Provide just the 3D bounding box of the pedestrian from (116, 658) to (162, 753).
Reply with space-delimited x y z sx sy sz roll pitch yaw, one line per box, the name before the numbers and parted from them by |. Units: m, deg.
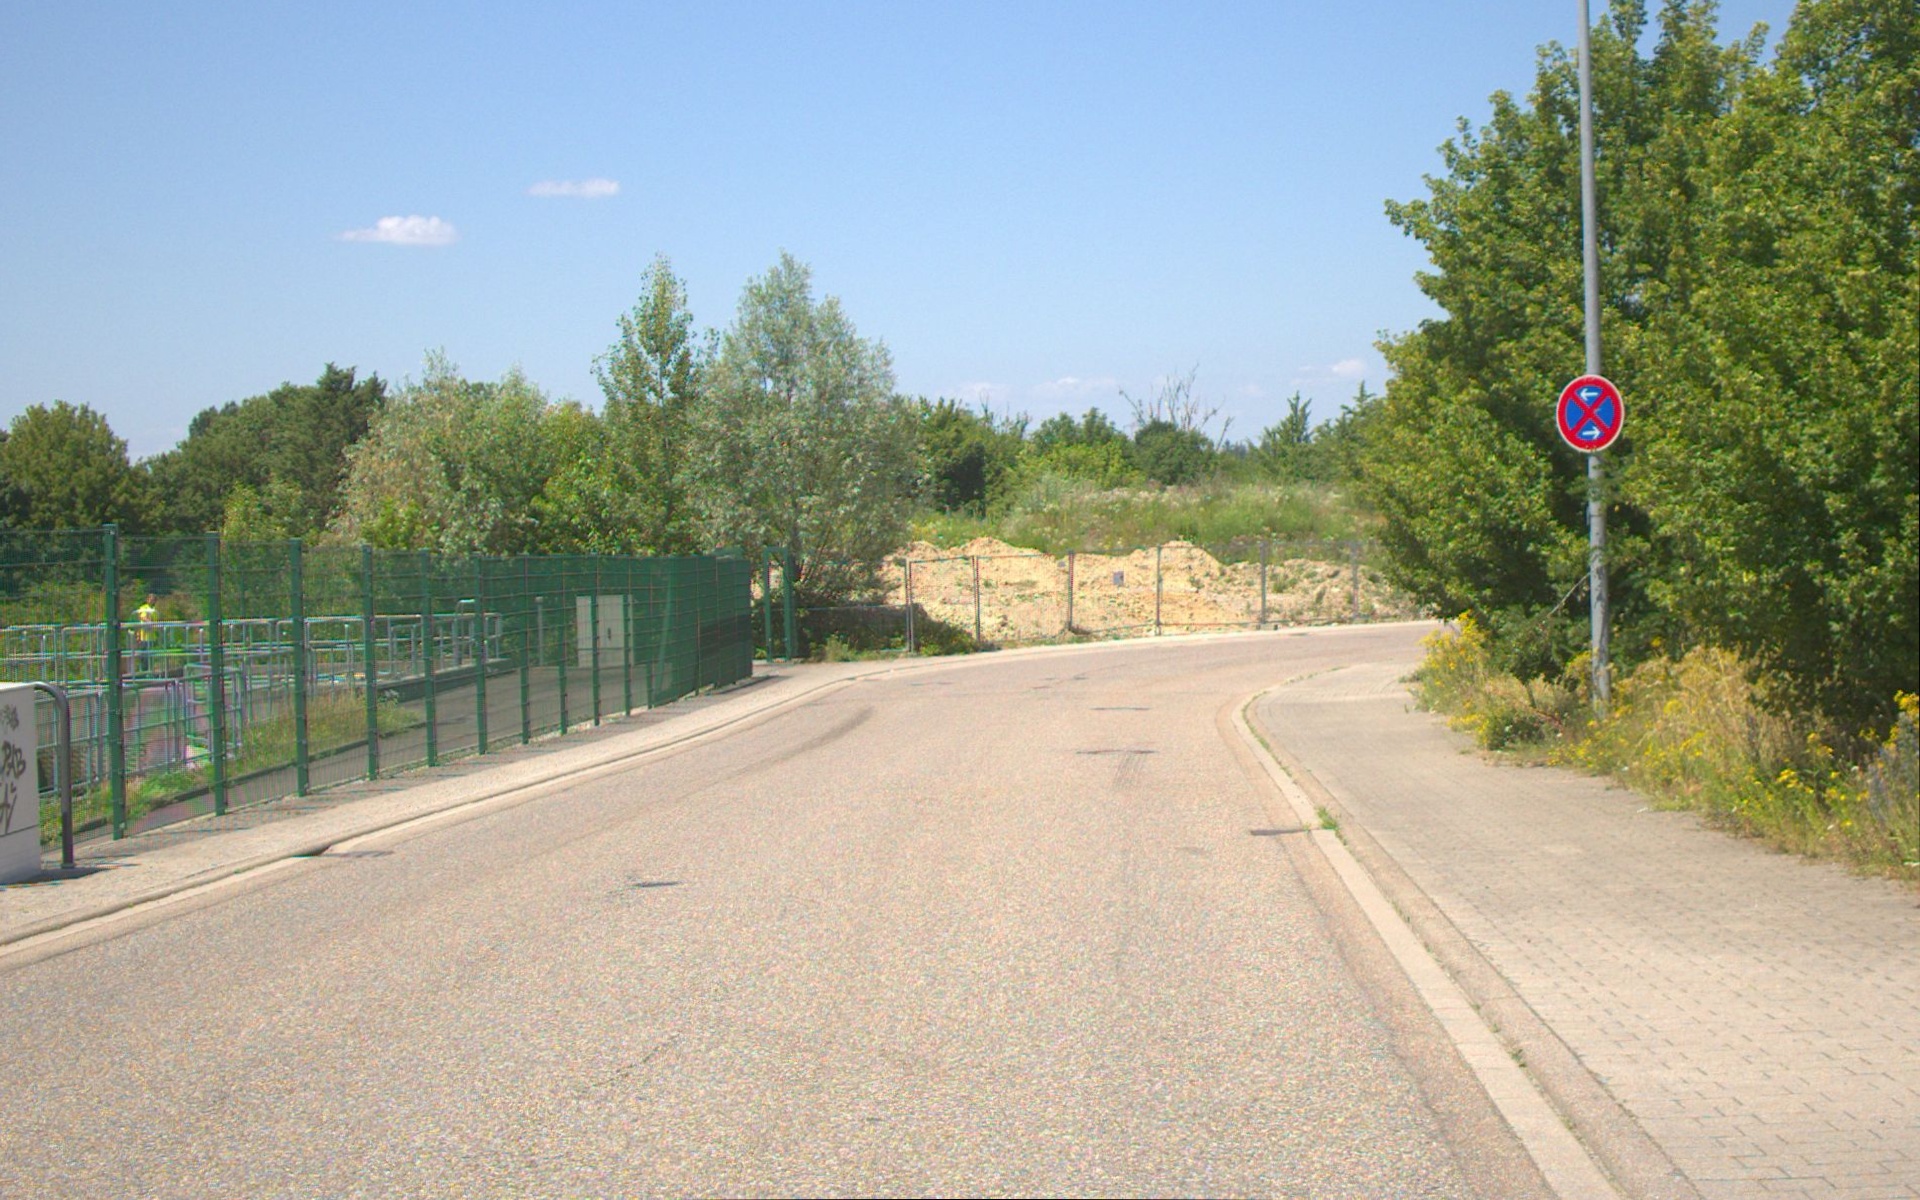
pedestrian | -16.131 2.069 67.561 0.605 1.833 0.805 -3 -1 2
